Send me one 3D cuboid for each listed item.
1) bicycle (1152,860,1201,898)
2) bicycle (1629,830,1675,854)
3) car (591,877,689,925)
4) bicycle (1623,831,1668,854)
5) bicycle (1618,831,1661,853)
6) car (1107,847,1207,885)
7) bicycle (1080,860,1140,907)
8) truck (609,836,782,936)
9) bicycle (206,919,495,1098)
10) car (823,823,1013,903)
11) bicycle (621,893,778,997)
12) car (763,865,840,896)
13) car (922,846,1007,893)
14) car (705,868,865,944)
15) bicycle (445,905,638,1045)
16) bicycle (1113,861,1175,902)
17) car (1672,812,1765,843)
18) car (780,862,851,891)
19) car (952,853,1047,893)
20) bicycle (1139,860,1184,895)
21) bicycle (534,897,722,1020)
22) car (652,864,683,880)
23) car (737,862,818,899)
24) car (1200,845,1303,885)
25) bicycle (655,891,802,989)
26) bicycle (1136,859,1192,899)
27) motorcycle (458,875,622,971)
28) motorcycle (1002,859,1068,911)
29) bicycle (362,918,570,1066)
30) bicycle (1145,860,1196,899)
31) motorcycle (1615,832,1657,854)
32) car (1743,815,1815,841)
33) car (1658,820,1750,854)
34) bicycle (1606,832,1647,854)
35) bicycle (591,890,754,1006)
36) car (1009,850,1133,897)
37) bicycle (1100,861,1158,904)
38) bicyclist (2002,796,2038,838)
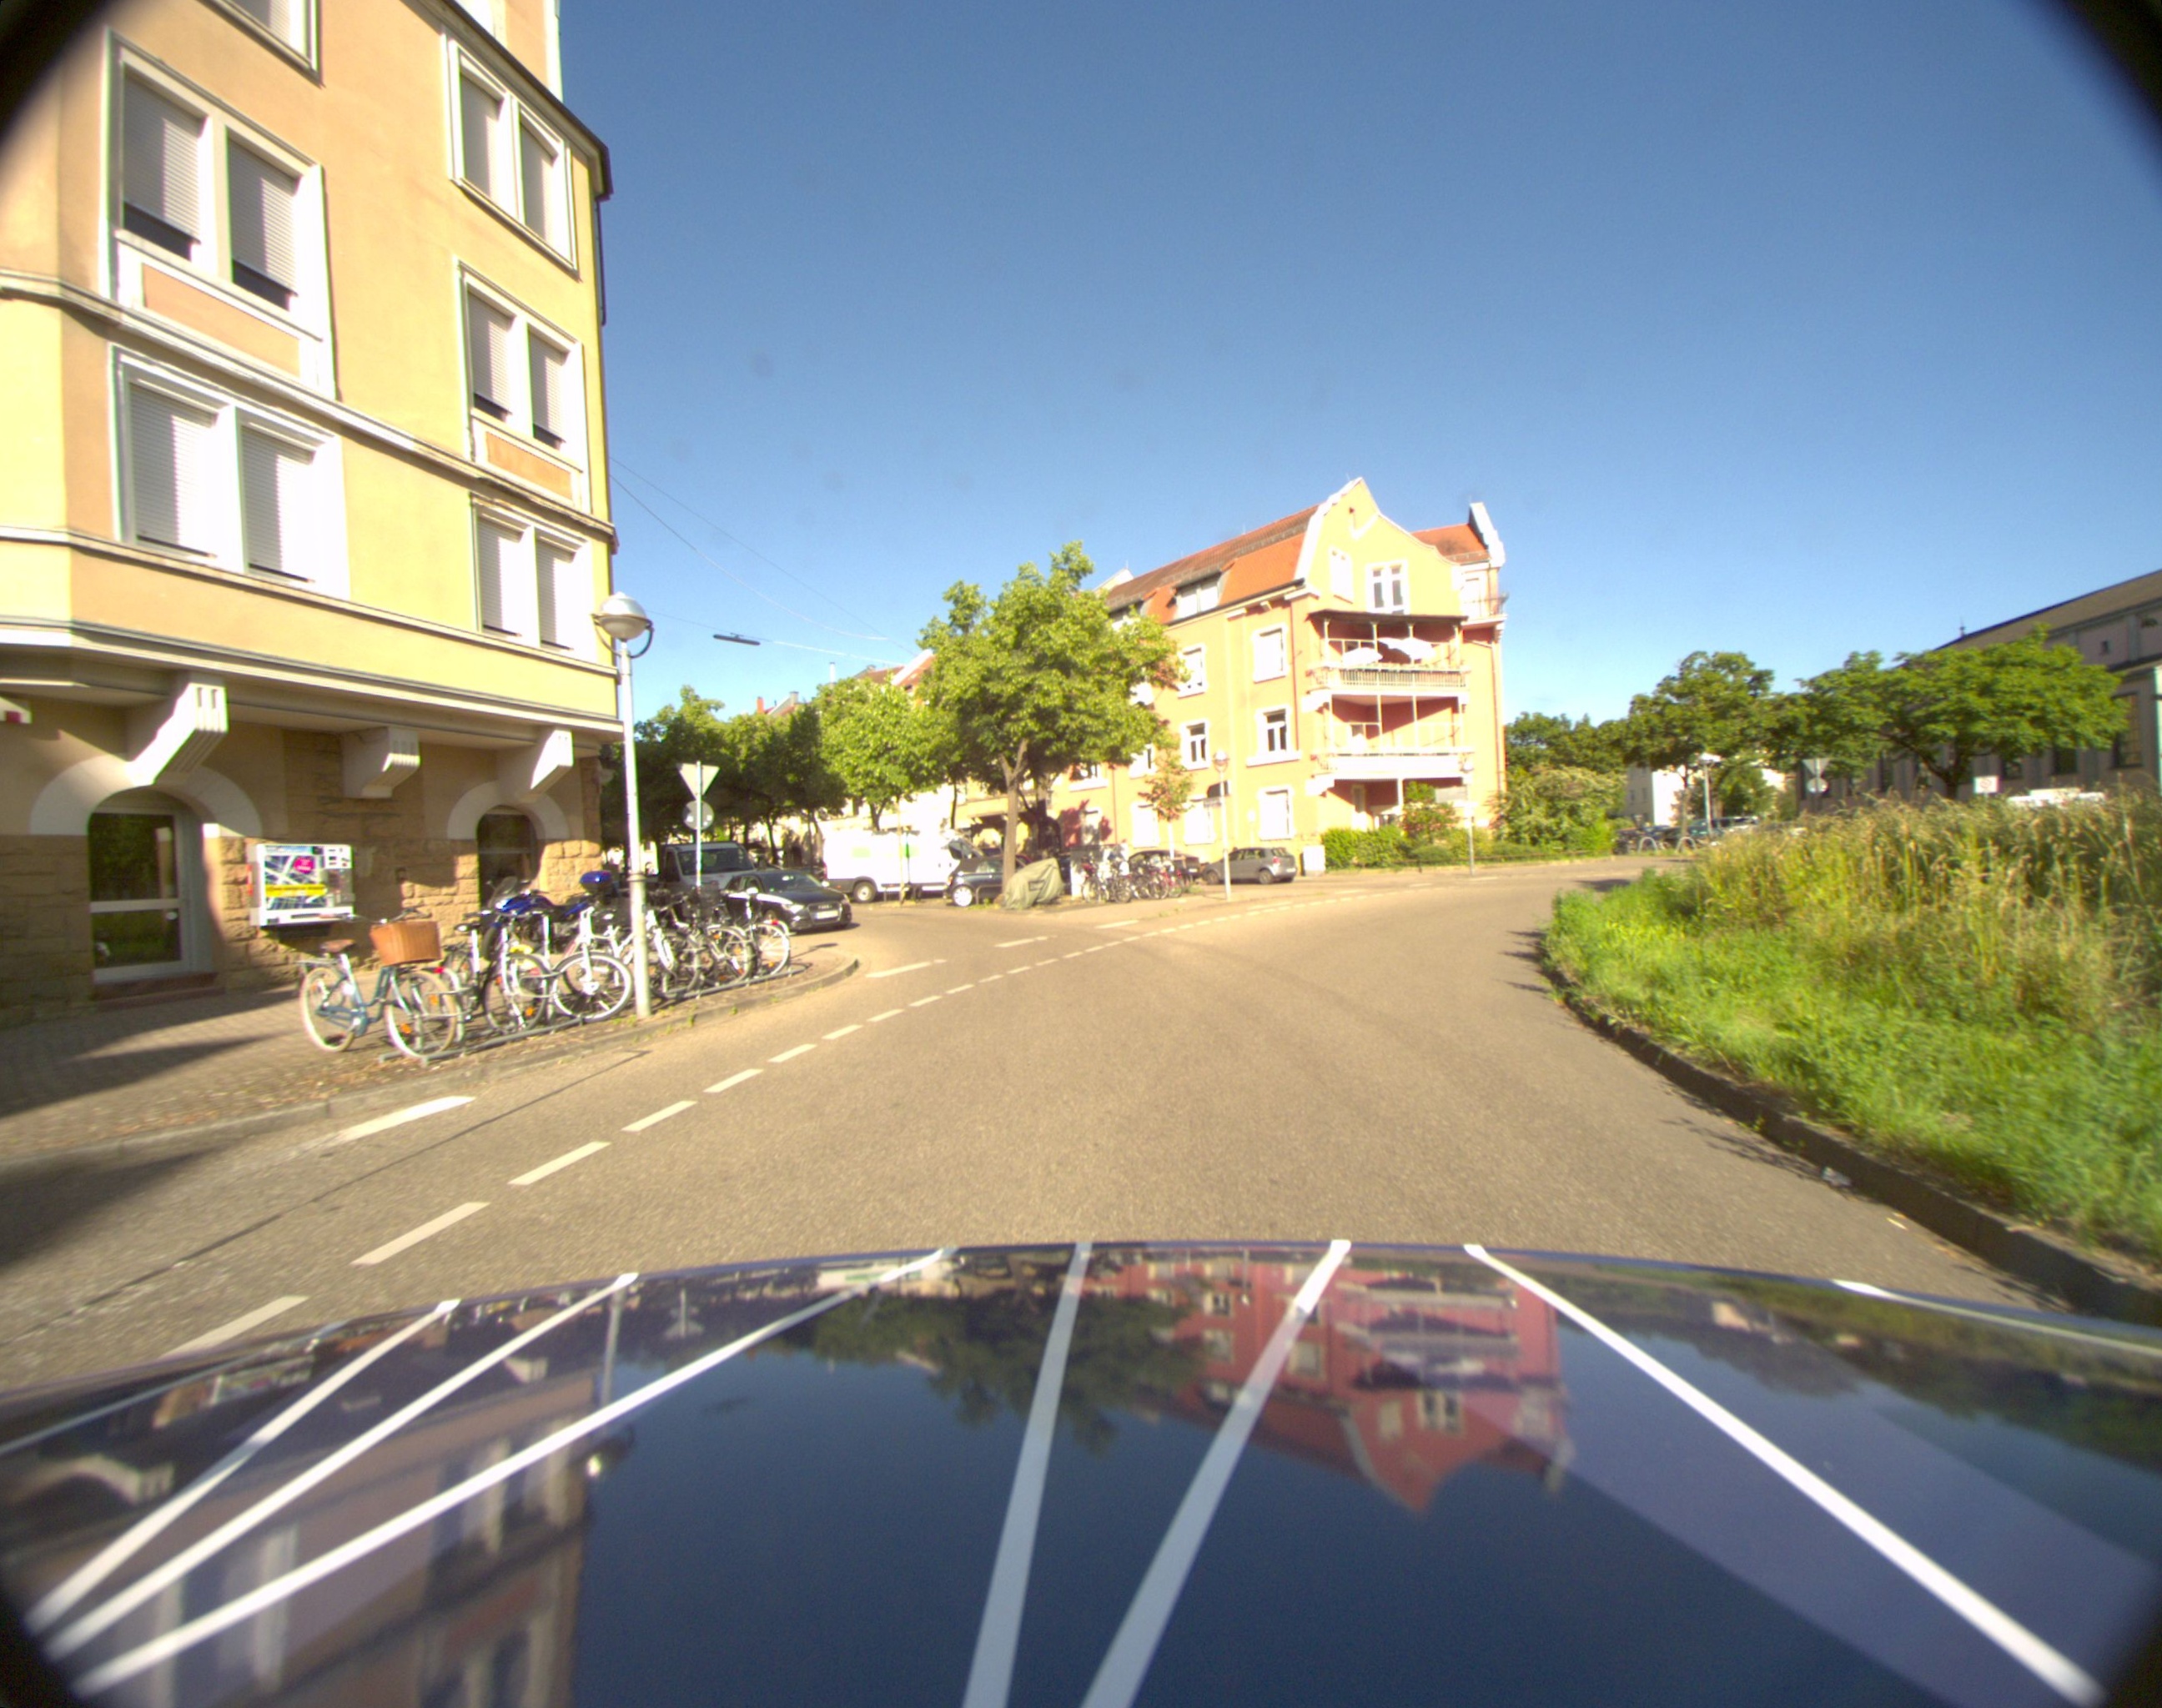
[{"bbox_3d":[2.847,0.737,22.804,0.420,1.080,1.522,-5,2,-40],"label":"bicycle"},{"bbox_3d":[28.004,-0.588,37.292,1.723,1.109,0.547,-1,1,19],"label":"bicycle"},{"bbox_3d":[-14.895,1.530,25.576,3.911,1.382,1.691,-2,2,43],"label":"car"},{"bbox_3d":[28.311,-0.585,38.103,1.723,1.109,0.547,-1,1,19],"label":"bicycle"},{"bbox_3d":[28.590,-0.601,38.907,1.828,1.101,0.501,-1,1,3],"label":"bicycle"},{"bbox_3d":[3.269,0.564,33.448,1.691,1.553,4.283,-1,-1,-44],"label":"car"},{"bbox_3d":[0.756,0.768,20.377,0.539,1.186,1.675,-4,2,-42],"label":"bicycle"},{"bbox_3d":[-10.798,0.823,20.946,6.603,2.279,2.143,-2,2,45],"label":"truck"},{"bbox_3d":[-5.481,1.114,5.713,1.864,1.123,0.700,-3,2,18],"label":"bicycle"},{"bbox_3d":[-5.720,0.308,27.389,6.373,2.585,2.103,-2,0,-3],"label":"car"},{"bbox_3d":[-4.424,1.051,8.821,1.693,1.117,0.484,-2,1,16],"label":"bicycle"},{"bbox_3d":[-14.443,1.357,39.379,3.383,1.461,1.687,-2,-1,-6],"label":"car"},{"bbox_3d":[-4.976,0.642,32.299,3.385,1.854,1.686,-1,0,-14],"label":"car"},{"bbox_3d":[-6.632,1.097,16.833,3.911,1.382,1.691,-2,2,43],"label":"car"},{"bbox_3d":[-5.017,1.076,7.060,1.693,1.139,0.639,-2,1,24],"label":"bicycle"},{"bbox_3d":[1.771,0.750,21.495,0.658,1.082,1.725,-4,2,-42],"label":"bicycle"},{"bbox_3d":[45.620,-1.884,54.451,4.771,1.989,1.811,-2,1,14],"label":"car"},{"bbox_3d":[-14.699,1.246,42.247,3.383,1.461,1.687,-2,-1,-6],"label":"car"},{"bbox_3d":[-3.252,0.749,30.381,3.389,1.438,1.684,-1,-1,-30],"label":"car"},{"bbox_3d":[2.555,0.739,24.269,0.420,1.080,1.522,-5,2,-40],"label":"bicycle"},{"bbox_3d":[-4.676,1.063,7.856,1.693,1.139,0.617,-2,1,16],"label":"bicycle"},{"bbox_3d":[-42.628,1.832,78.272,1.803,1.501,3.989,-3,0,-44],"label":"car"},{"bbox_3d":[-14.615,1.251,36.759,3.499,1.655,1.686,-1,-1,-18],"label":"car"},{"bbox_3d":[6.653,0.451,29.837,1.691,1.438,3.536,-1,-1,-44],"label":"car"},{"bbox_3d":[-4.326,1.043,9.308,1.715,1.117,0.484,-2,1,19],"label":"bicycle"},{"bbox_3d":[2.369,0.705,21.813,0.501,1.096,1.645,-4,2,-41],"label":"bicycle"},{"bbox_3d":[-8.821,1.075,12.542,0.699,1.402,2.254,-1,-1,16],"label":"motorcycle"},{"bbox_3d":[-1.199,0.791,19.943,1.715,1.263,0.537,-1,0,-38],"label":"motorcycle"},{"bbox_3d":[-5.255,1.119,6.474,1.874,1.084,0.537,-2,1,24],"label":"bicycle"},{"bbox_3d":[2.618,0.739,22.366,0.420,1.083,1.569,-4,2,-40],"label":"bicycle"},{"bbox_3d":[28.919,-0.586,39.600,1.724,1.101,0.501,-1,1,12],"label":"motorcycle"},{"bbox_3d":[43.103,-1.559,47.021,1.805,1.465,4.345,-2,0,22],"label":"car"},{"bbox_3d":[31.632,-0.835,38.734,1.807,1.475,4.342,-5,0,13],"label":"car"},{"bbox_3d":[28.891,-0.582,40.282,1.724,1.101,0.501,-1,1,12],"label":"bicycle"},{"bbox_3d":[-4.523,1.028,8.404,1.693,1.185,0.452,-2,1,16],"label":"bicycle"},{"bbox_3d":[-0.373,0.654,26.255,3.925,1.438,1.686,-1,-1,-19],"label":"car"},{"bbox_3d":[1.314,0.767,20.937,0.590,1.120,1.598,-4,2,-42],"label":"bicycle"},{"bbox_3d":[39.486,-1.531,31.949,0.644,1.704,0.724,-3,0,24],"label":"bicyclist"}]
